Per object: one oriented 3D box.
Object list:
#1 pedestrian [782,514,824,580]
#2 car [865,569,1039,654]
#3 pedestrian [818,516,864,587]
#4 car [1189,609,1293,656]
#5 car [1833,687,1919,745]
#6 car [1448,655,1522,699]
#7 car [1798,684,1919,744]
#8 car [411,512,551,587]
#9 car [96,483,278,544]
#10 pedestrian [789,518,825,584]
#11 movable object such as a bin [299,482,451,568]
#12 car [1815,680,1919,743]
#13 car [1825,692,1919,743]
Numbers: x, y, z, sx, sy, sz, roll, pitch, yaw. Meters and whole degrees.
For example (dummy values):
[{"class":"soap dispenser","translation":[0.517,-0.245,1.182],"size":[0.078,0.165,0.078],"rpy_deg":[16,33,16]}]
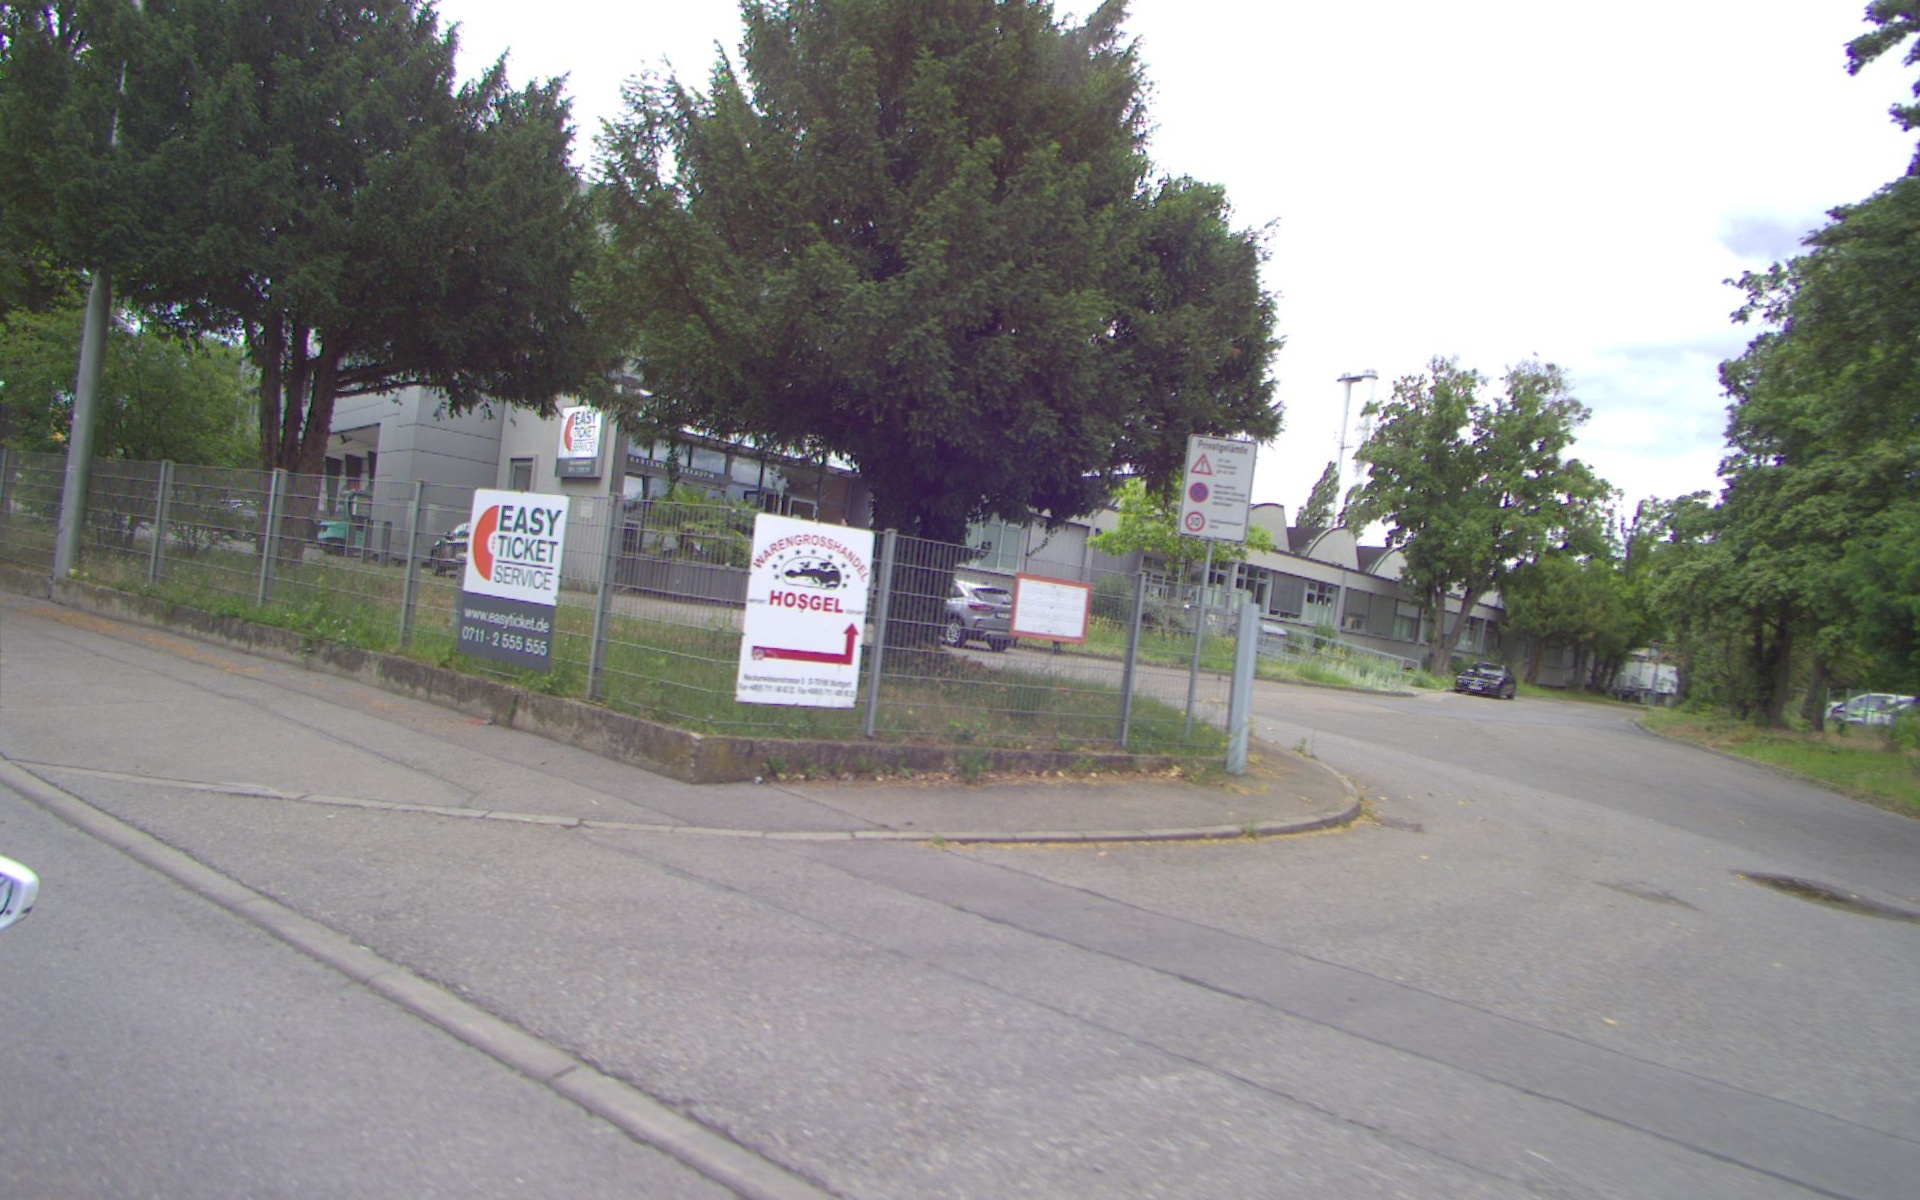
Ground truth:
[{"class":"pedestrian","translation":[-4.533,-1.509,29.021],"size":[0.907,1.774,0.793],"rpy_deg":[6,1,-19]},{"class":"car","translation":[-0.290,0.261,26.252],"size":[1.987,1.633,4.386],"rpy_deg":[6,2,-43]},{"class":"pedestrian","translation":[-3.621,-1.481,30.581],"size":[0.791,2.039,0.910],"rpy_deg":[5,2,-41]},{"class":"car","translation":[12.645,1.459,45.454],"size":[1.896,1.540,4.018],"rpy_deg":[6,2,-40]},{"class":"car","translation":[33.826,4.229,35.130],"size":[4.575,1.666,1.964],"rpy_deg":[7,1,30]},{"class":"car","translation":[22.955,3.366,43.898],"size":[1.970,1.540,4.423],"rpy_deg":[8,1,38]},{"class":"car","translation":[36.779,4.618,40.055],"size":[2.085,1.759,4.828],"rpy_deg":[6,1,-40]},{"class":"car","translation":[-13.026,-1.388,27.231],"size":[4.383,1.588,1.987],"rpy_deg":[8,4,44]},{"class":"car","translation":[-27.285,-3.017,35.670],"size":[4.614,1.492,1.996],"rpy_deg":[6,1,-10]},{"class":"pedestrian","translation":[-4.677,-1.503,30.673],"size":[0.736,1.910,0.690],"rpy_deg":[6,2,-24]},{"class":"movable object such as a bin","translation":[-19.949,-2.540,34.426],"size":[1.926,2.334,3.977],"rpy_deg":[8,1,43]},{"class":"car","translation":[39.121,4.754,41.922],"size":[2.083,2.130,4.852],"rpy_deg":[6,1,-37]},{"class":"car","translation":[41.137,5.251,43.721],"size":[2.083,1.672,4.913],"rpy_deg":[6,1,-37]}]
